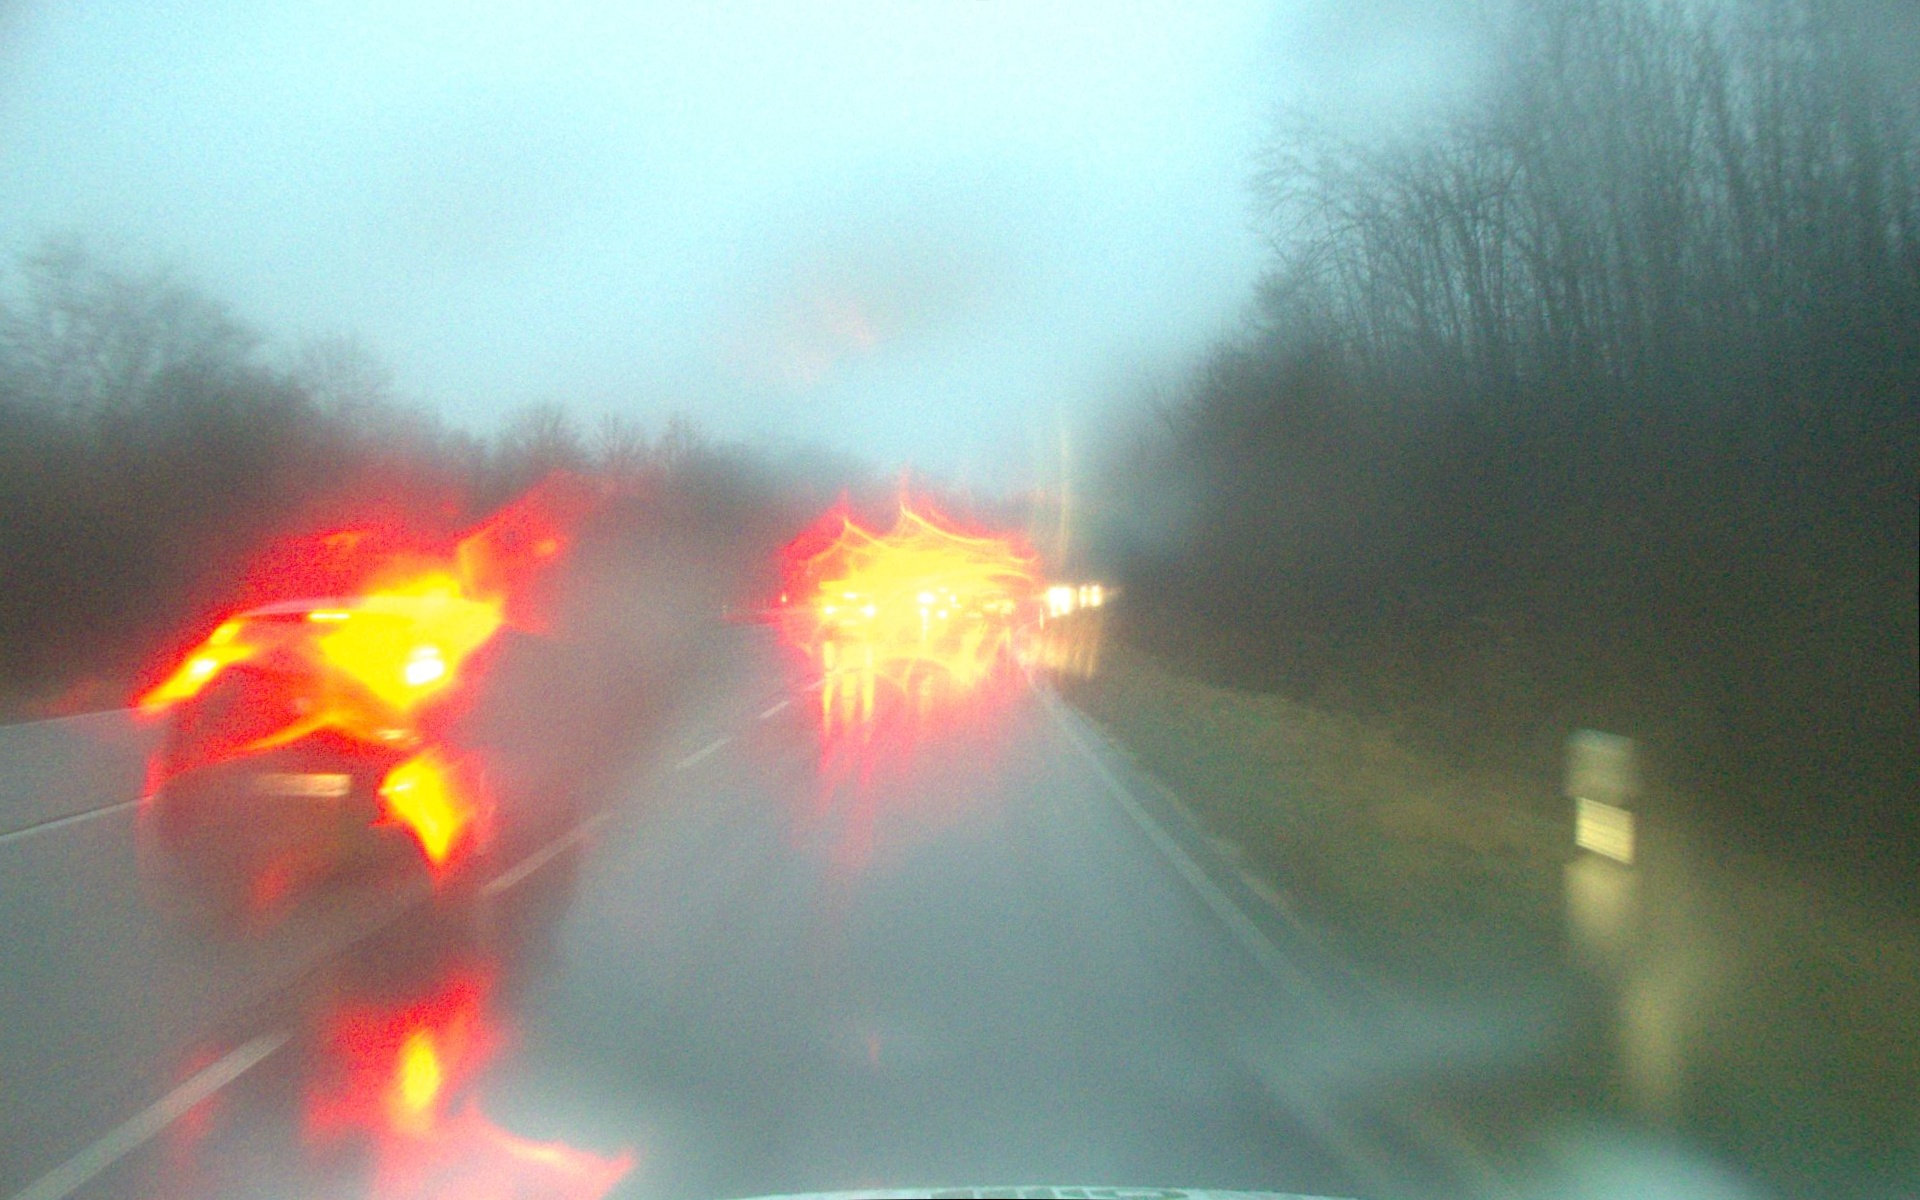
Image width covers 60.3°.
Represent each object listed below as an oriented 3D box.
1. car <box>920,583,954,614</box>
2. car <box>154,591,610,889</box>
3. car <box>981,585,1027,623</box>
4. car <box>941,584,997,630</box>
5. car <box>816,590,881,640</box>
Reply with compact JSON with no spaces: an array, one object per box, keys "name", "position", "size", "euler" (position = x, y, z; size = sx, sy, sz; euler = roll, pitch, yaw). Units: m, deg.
[{"name":"car","position":[-1.256,-0.115,92.595],"size":[1.677,1.655,4.219],"euler":[1,1,2]},{"name":"car","position":[-3.291,0.687,10.258],"size":[1.600,1.446,4.168],"euler":[1,0,-4]},{"name":"car","position":[2.073,0.161,77.338],"size":[1.643,1.704,4.102],"euler":[-1,1,8]},{"name":"car","position":[0.328,0.208,54.450],"size":[1.643,1.414,4.100],"euler":[-1,1,3]},{"name":"car","position":[-3.697,0.467,55.567],"size":[1.964,1.583,4.516],"euler":[1,0,-2]}]
